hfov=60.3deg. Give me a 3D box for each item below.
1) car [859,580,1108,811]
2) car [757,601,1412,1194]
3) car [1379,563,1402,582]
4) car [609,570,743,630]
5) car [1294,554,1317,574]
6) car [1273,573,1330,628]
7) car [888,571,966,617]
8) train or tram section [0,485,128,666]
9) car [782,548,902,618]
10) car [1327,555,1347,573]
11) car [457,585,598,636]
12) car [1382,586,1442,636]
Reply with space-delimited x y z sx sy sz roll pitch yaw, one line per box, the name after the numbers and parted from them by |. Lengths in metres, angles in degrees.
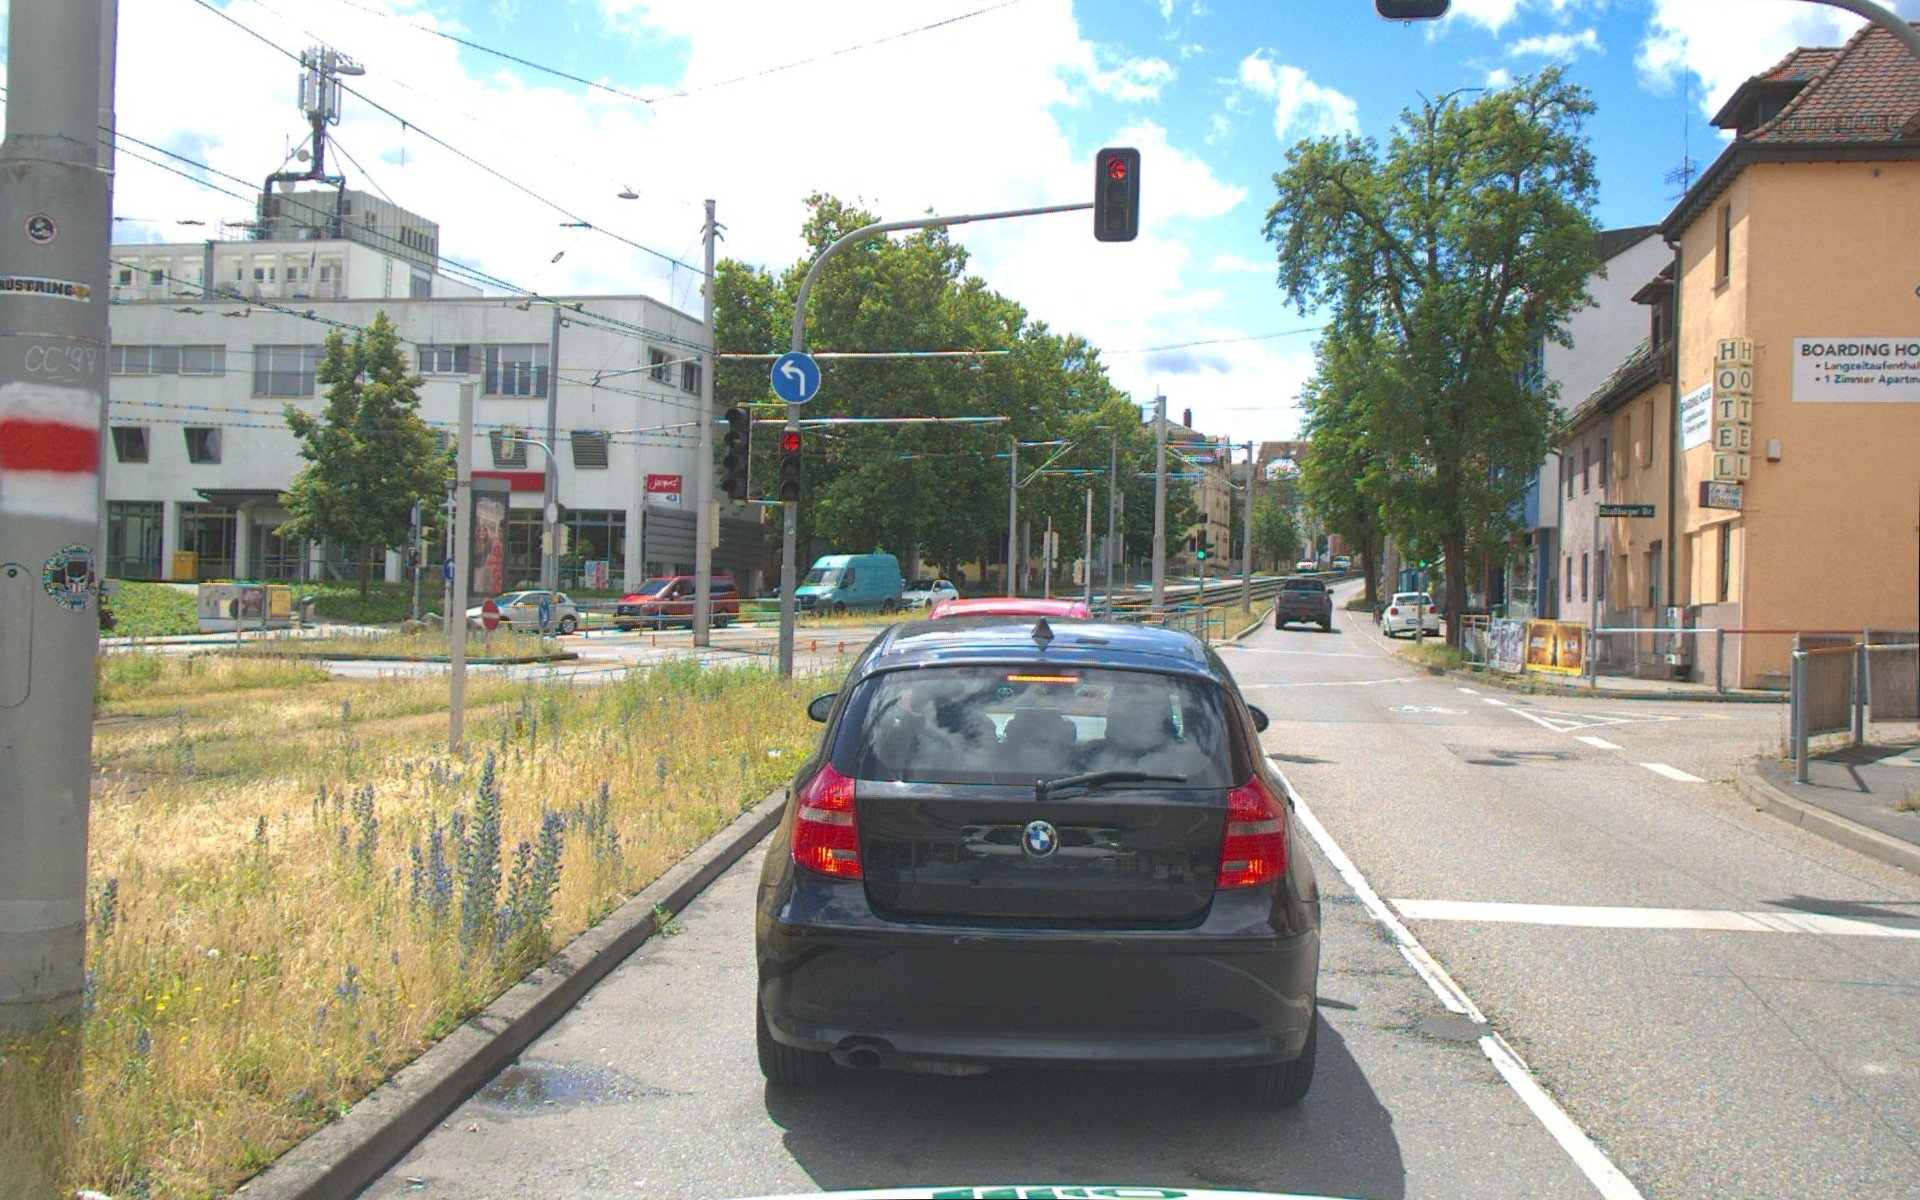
0.325 0.647 12.814 1.590 1.499 4.002 0 -1 6 | car
0.222 0.767 6.201 1.667 1.477 3.997 0 -1 -3 | car
42.681 -2.725 164.010 1.951 1.691 4.002 -1 -1 17 | car
-10.090 0.019 58.999 1.822 2.044 4.777 -1 -1 37 | car
39.399 -4.074 188.405 1.952 2.049 4.000 -1 -1 21 | car
12.503 0.051 60.555 1.956 1.920 5.154 0 -1 12 | car
-1.436 -0.241 73.786 1.814 1.962 4.798 -1 -1 21 | car
-28.699 -0.498 34.680 19.677 3.881 3.742 0 -1 -19 | train or tram section
-4.757 -0.645 67.710 2.091 2.701 5.678 -1 -1 31 | car
47.399 -4.497 207.832 1.952 2.049 4.000 -1 -1 21 | car
-14.068 0.352 53.949 1.826 1.613 4.144 -1 -1 42 | car
15.310 0.370 56.180 1.749 1.624 4.003 0 -1 12 | car
